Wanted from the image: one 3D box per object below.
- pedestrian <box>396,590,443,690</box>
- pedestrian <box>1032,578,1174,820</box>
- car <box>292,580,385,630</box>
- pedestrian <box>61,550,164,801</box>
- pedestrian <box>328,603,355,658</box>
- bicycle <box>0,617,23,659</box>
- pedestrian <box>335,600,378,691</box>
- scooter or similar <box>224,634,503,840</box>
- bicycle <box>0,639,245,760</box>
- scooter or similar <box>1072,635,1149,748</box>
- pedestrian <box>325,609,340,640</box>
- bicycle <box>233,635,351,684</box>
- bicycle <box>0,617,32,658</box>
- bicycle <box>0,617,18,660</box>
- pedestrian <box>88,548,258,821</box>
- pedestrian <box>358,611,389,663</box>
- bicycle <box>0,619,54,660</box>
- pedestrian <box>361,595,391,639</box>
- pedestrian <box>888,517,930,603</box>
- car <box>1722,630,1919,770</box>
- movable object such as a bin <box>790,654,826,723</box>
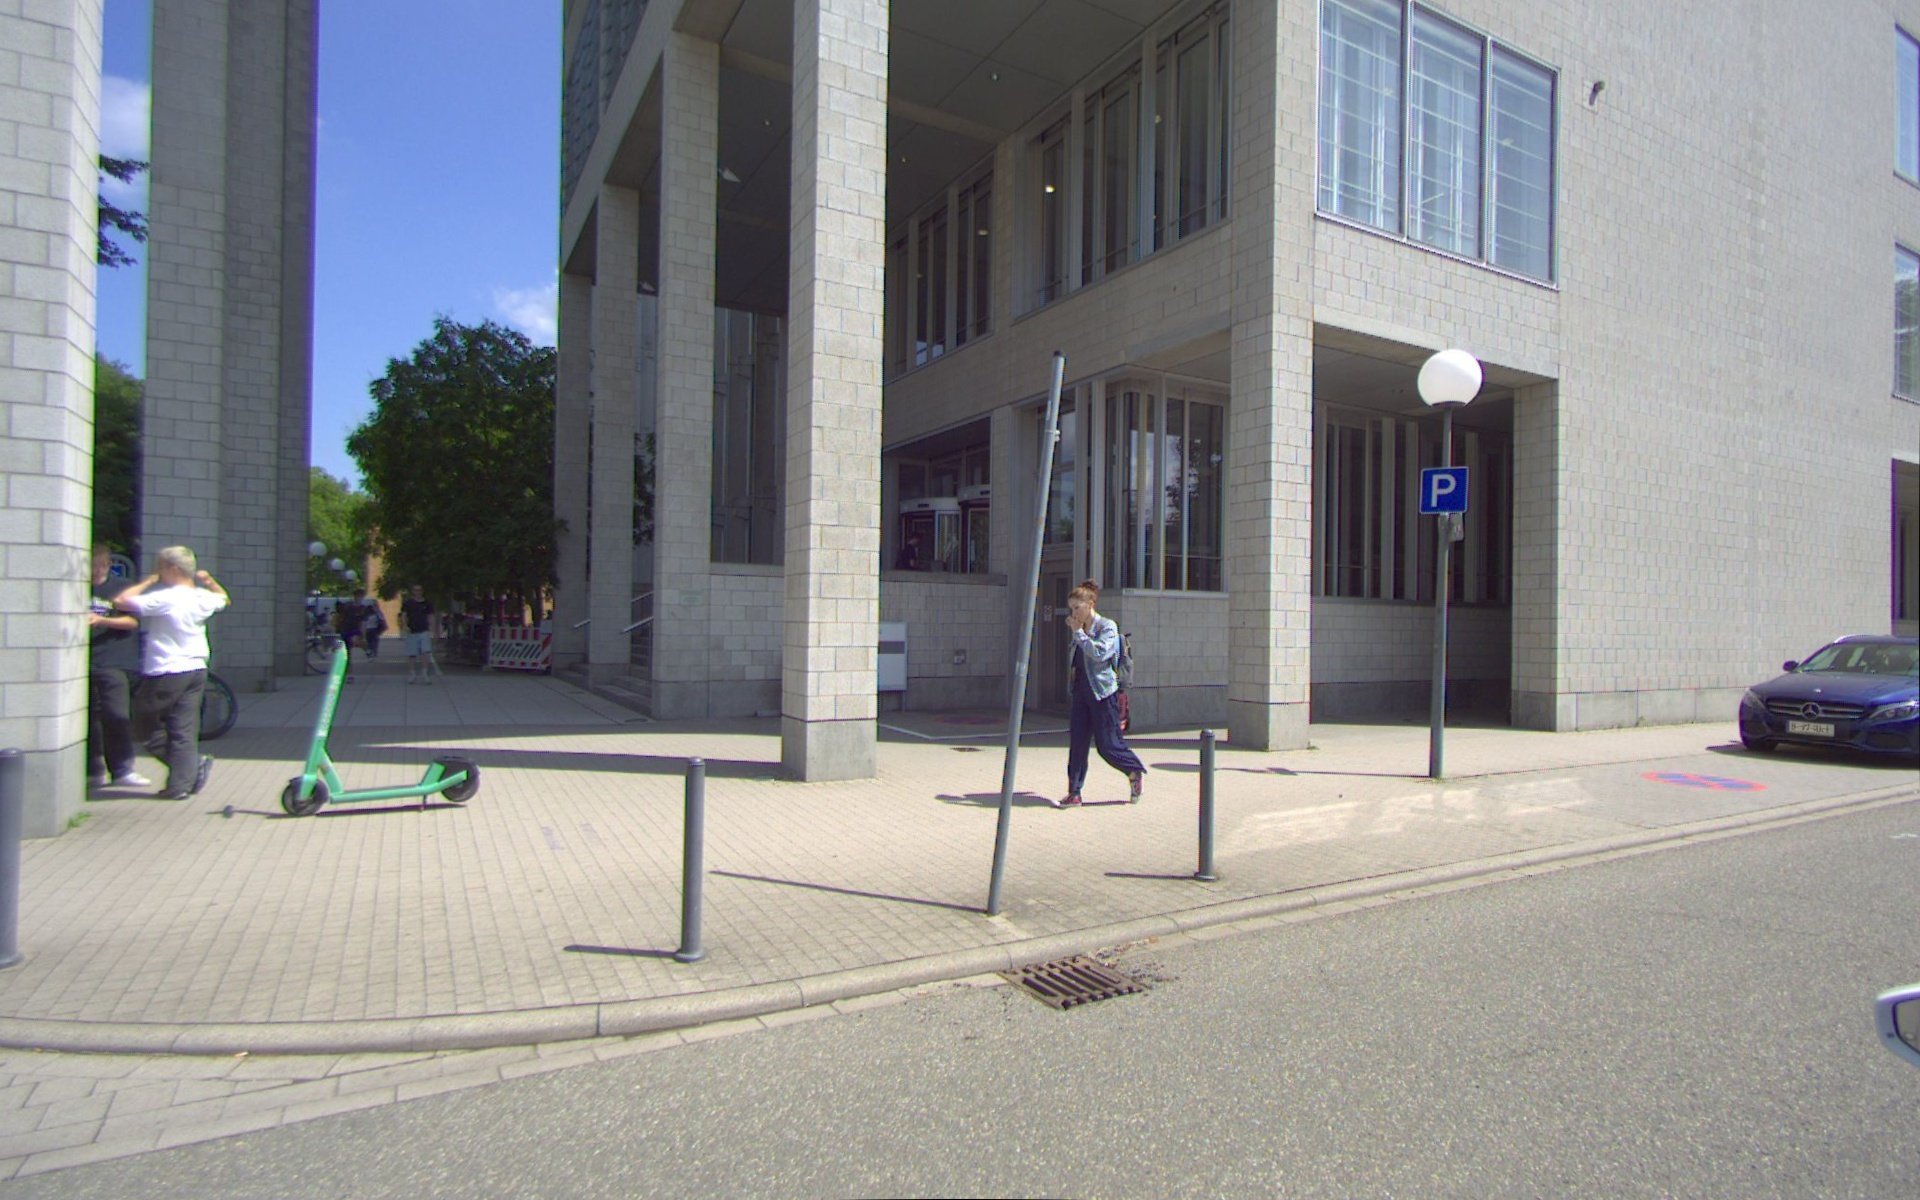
[{"bbox_3d":[-10.047,0.730,18.692,0.728,1.814,0.622,1,-1,-28],"label":"pedestrian"},{"bbox_3d":[1.096,0.715,7.679,0.882,1.724,0.644,1,-1,-40],"label":"pedestrian"},{"bbox_3d":[-36.580,0.314,59.162,4.582,2.813,1.981,1,-1,-35],"label":"car"},{"bbox_3d":[-6.341,0.542,7.517,0.434,1.799,0.450,1,0,30],"label":"pedestrian"},{"bbox_3d":[-19.096,0.926,31.031,0.632,1.671,0.597,1,0,-27],"label":"pedestrian"},{"bbox_3d":[-25.013,0.958,25.321,1.953,1.037,0.613,1,1,-34],"label":"bicycle"},{"bbox_3d":[-11.011,0.815,18.336,0.590,1.614,0.824,1,-1,-27],"label":"pedestrian"},{"bbox_3d":[-3.883,0.858,6.661,1.528,1.240,0.453,1,-1,-26],"label":"scooter or similar"},{"bbox_3d":[-8.102,0.928,9.726,1.839,1.028,0.463,-1,1,-26],"label":"bicycle"},{"bbox_3d":[1.824,1.052,12.001,0.516,1.226,1.557,1,-1,23],"label":"scooter or similar"},{"bbox_3d":[-33.316,1.294,53.345,0.595,1.627,0.627,1,0,-30],"label":"pedestrian"},{"bbox_3d":[-13.715,1.202,20.689,1.971,0.959,0.523,1,-1,-31],"label":"bicycle"},{"bbox_3d":[-25.306,0.970,25.881,1.953,1.037,0.613,1,1,-34],"label":"bicycle"},{"bbox_3d":[-24.634,0.951,24.782,1.953,1.037,0.613,1,1,-34],"label":"bicycle"},{"bbox_3d":[-5.541,0.560,7.091,0.625,1.799,0.736,1,-1,28],"label":"pedestrian"},{"bbox_3d":[-18.637,1.169,31.938,0.776,1.625,0.597,1,0,-27],"label":"pedestrian"},{"bbox_3d":[-26.596,1.097,27.971,1.949,1.101,0.549,1,1,-30],"label":"bicycle"},{"bbox_3d":[-20.709,0.600,35.620,0.707,1.561,0.702,1,0,-15],"label":"pedestrian"},{"bbox_3d":[-1.028,-0.787,20.241,0.684,1.683,0.632,1,0,-19],"label":"pedestrian"},{"bbox_3d":[11.490,1.141,12.384,4.181,1.446,1.759,2,-1,-28],"label":"car"},{"bbox_3d":[-2.050,1.196,13.590,0.444,0.906,0.167,1,-1,-35],"label":"movable object such as a bin"}]
